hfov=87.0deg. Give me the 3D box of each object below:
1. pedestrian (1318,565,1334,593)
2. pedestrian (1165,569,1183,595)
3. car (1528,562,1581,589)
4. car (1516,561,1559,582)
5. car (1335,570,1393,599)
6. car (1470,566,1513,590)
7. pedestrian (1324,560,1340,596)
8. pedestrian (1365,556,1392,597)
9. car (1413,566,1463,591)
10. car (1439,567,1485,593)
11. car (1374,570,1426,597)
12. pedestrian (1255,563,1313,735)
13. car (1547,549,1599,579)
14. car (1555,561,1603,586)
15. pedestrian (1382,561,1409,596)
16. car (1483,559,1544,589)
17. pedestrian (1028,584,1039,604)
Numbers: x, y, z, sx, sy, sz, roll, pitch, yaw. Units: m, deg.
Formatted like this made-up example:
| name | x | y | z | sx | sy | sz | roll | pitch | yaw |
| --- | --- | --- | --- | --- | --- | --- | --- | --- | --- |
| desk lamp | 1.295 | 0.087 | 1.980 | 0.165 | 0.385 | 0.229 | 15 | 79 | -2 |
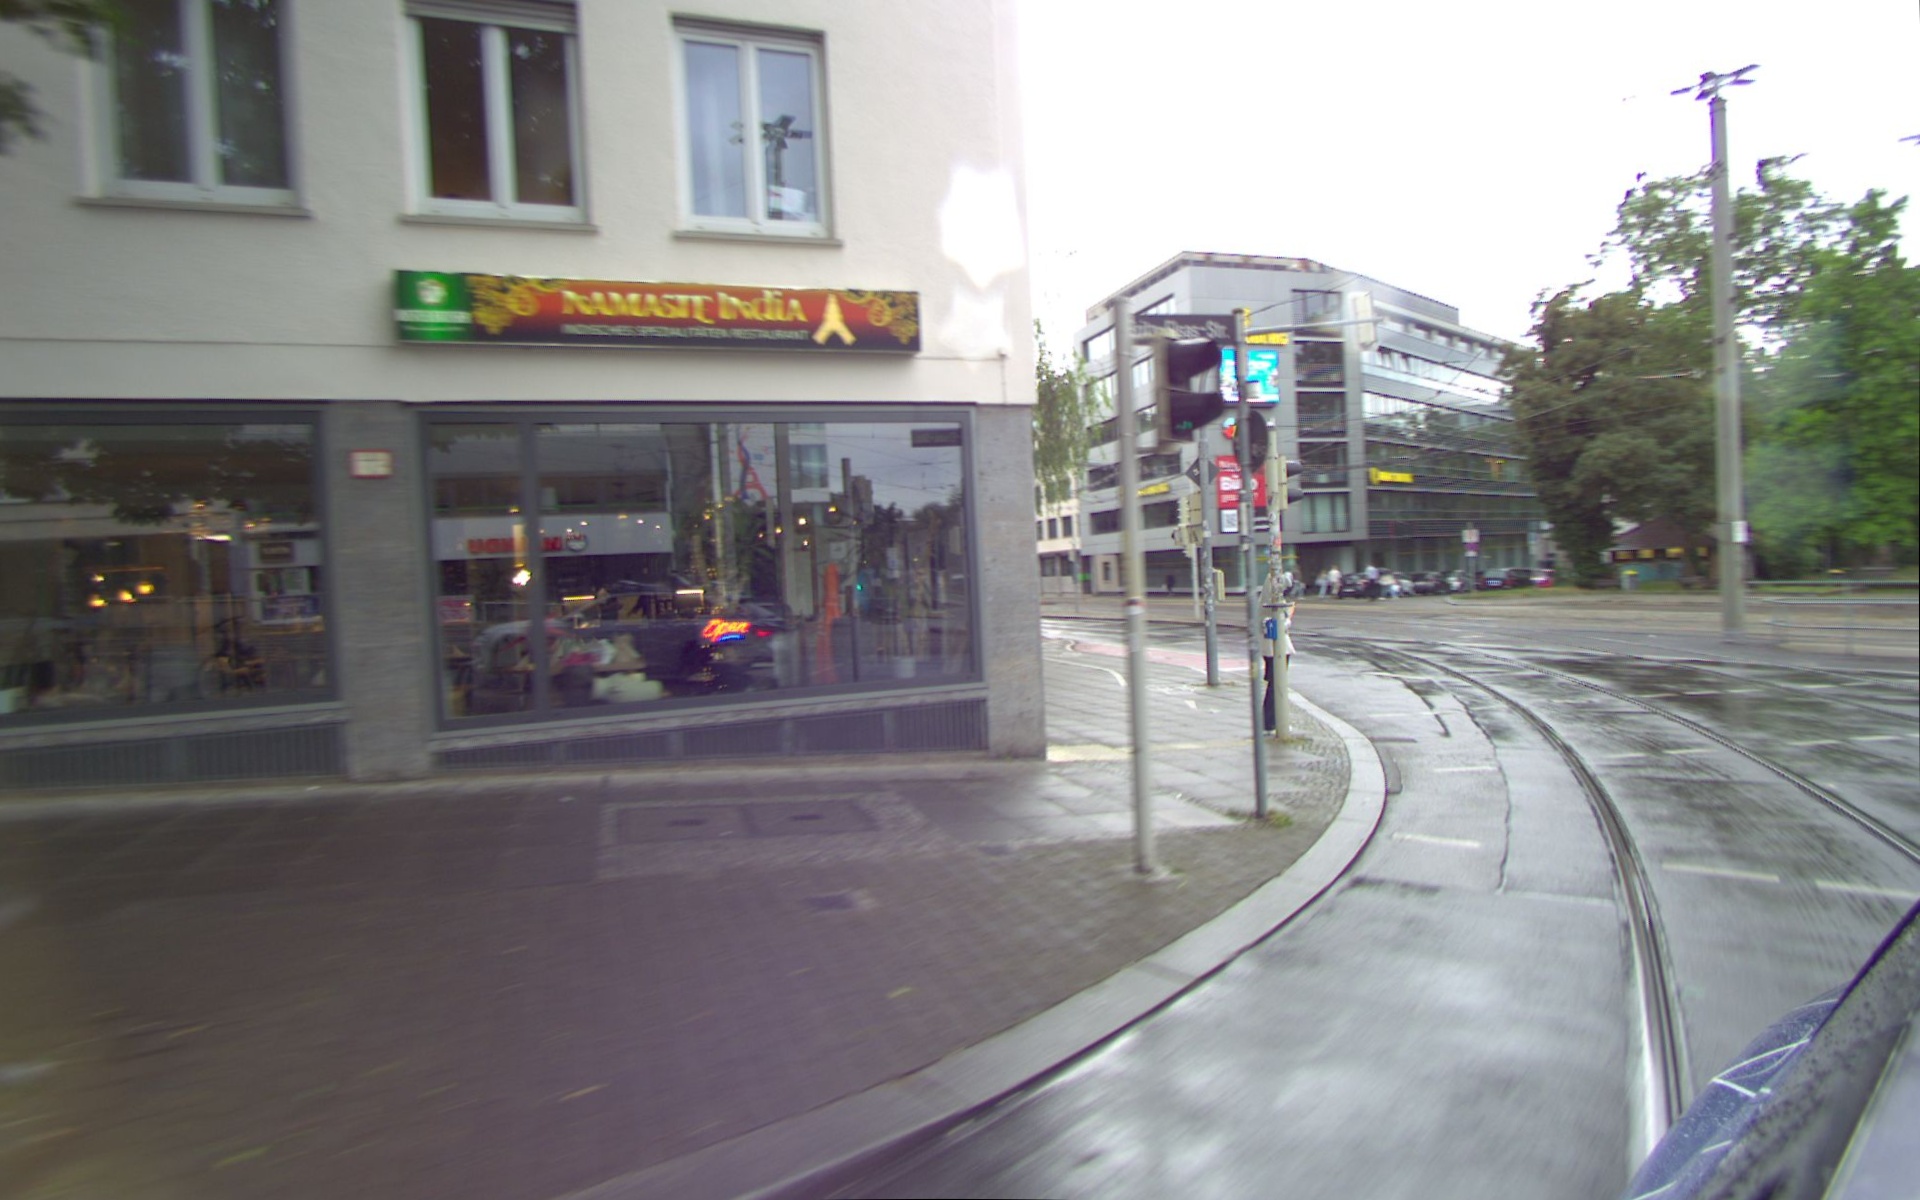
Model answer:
| name | x | y | z | sx | sy | sz | roll | pitch | yaw |
| --- | --- | --- | --- | --- | --- | --- | --- | --- | --- |
| pedestrian | 21.456 | -1.237 | 59.284 | 0.578 | 1.613 | 0.636 | -4 | 2 | -2 |
| pedestrian | 13.793 | -1.151 | 65.291 | 0.948 | 1.613 | 0.589 | -4 | 2 | -1 |
| car | 33.597 | -1.391 | 57.161 | 3.483 | 1.466 | 1.698 | -3 | 1 | -45 |
| car | 43.625 | -2.150 | 76.437 | 3.479 | 1.466 | 1.700 | -2 | 1 | -41 |
| car | 23.180 | -0.899 | 57.981 | 3.680 | 1.570 | 1.698 | -3 | 1 | -43 |
| car | 36.583 | -1.500 | 69.591 | 1.697 | 1.574 | 3.485 | -1 | 1 | 44 |
| pedestrian | 21.707 | -1.266 | 59.027 | 0.612 | 2.038 | 0.656 | -3 | 2 | 33 |
| pedestrian | 19.953 | -1.128 | 48.283 | 0.899 | 1.885 | 1.001 | -4 | 2 | 11 |
| car | 29.869 | -1.346 | 63.242 | 1.697 | 1.472 | 3.683 | -1 | 1 | 44 |
| car | 33.250 | -1.333 | 66.980 | 1.697 | 1.574 | 3.484 | -1 | 1 | 44 |
| car | 26.393 | -0.991 | 60.659 | 1.697 | 1.472 | 3.683 | -1 | 1 | 44 |
| pedestrian | 3.405 | 0.487 | 10.613 | 0.522 | 1.734 | 0.701 | -1 | 0 | 20 |
| car | 49.812 | -2.939 | 82.219 | 4.985 | 2.248 | 2.327 | -3 | 1 | -43 |
| car | 37.556 | -1.617 | 61.339 | 3.483 | 1.466 | 1.698 | -3 | 1 | -45 |
| pedestrian | 21.655 | -1.080 | 50.326 | 0.898 | 1.613 | 1.002 | -4 | 2 | 8 |
| car | 29.269 | -1.389 | 53.492 | 3.479 | 1.466 | 1.700 | -2 | 1 | -41 |
| pedestrian | 6.171 | -0.471 | 85.185 | 0.537 | 1.632 | 0.800 | -6 | 2 | -16 |
